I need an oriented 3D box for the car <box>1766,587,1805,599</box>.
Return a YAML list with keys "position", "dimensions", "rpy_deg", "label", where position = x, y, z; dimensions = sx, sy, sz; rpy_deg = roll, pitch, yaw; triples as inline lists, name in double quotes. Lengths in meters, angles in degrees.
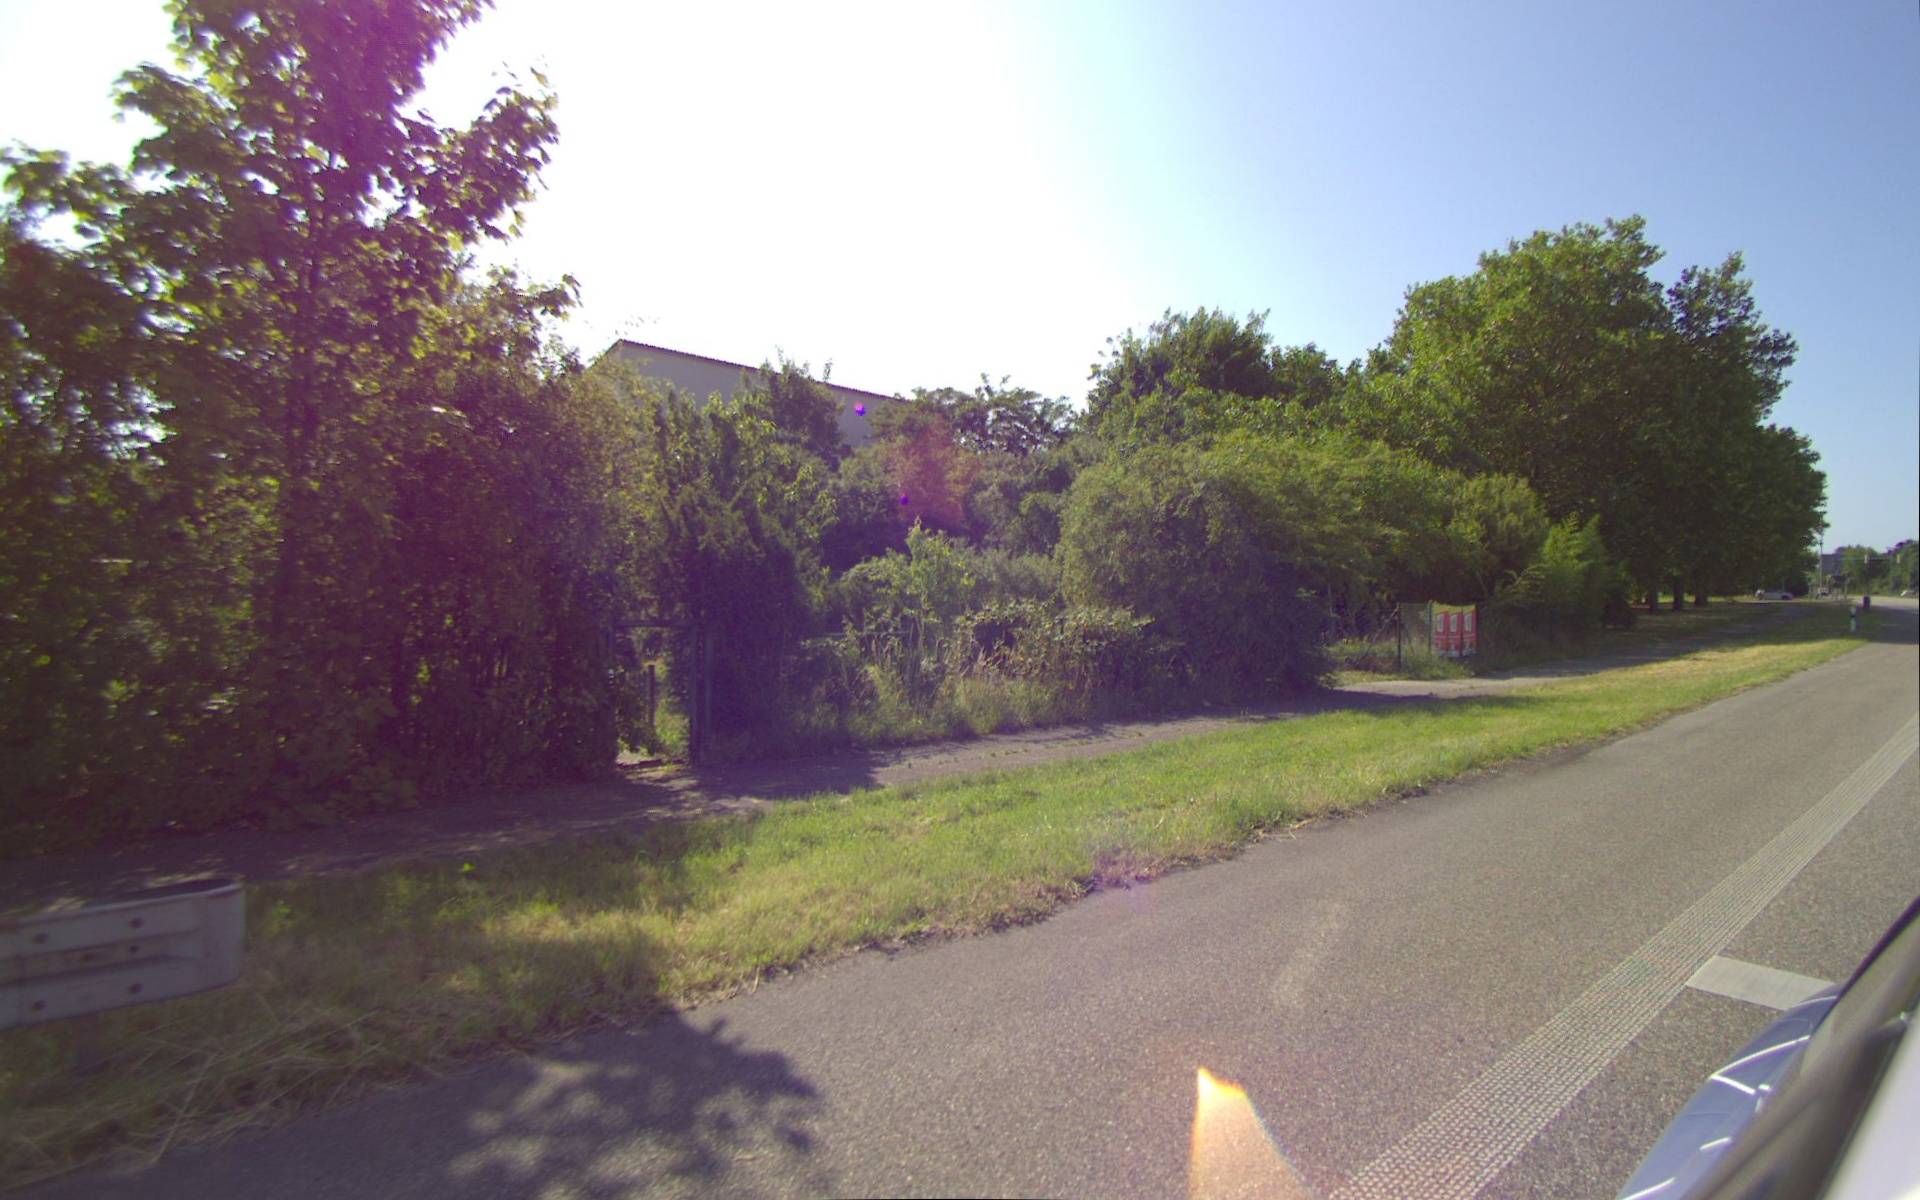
- position: [111.515, -0.979, 136.760]
  dimensions: [4.046, 1.583, 1.718]
  rpy_deg: [1, 1, 40]
  label: "car"
